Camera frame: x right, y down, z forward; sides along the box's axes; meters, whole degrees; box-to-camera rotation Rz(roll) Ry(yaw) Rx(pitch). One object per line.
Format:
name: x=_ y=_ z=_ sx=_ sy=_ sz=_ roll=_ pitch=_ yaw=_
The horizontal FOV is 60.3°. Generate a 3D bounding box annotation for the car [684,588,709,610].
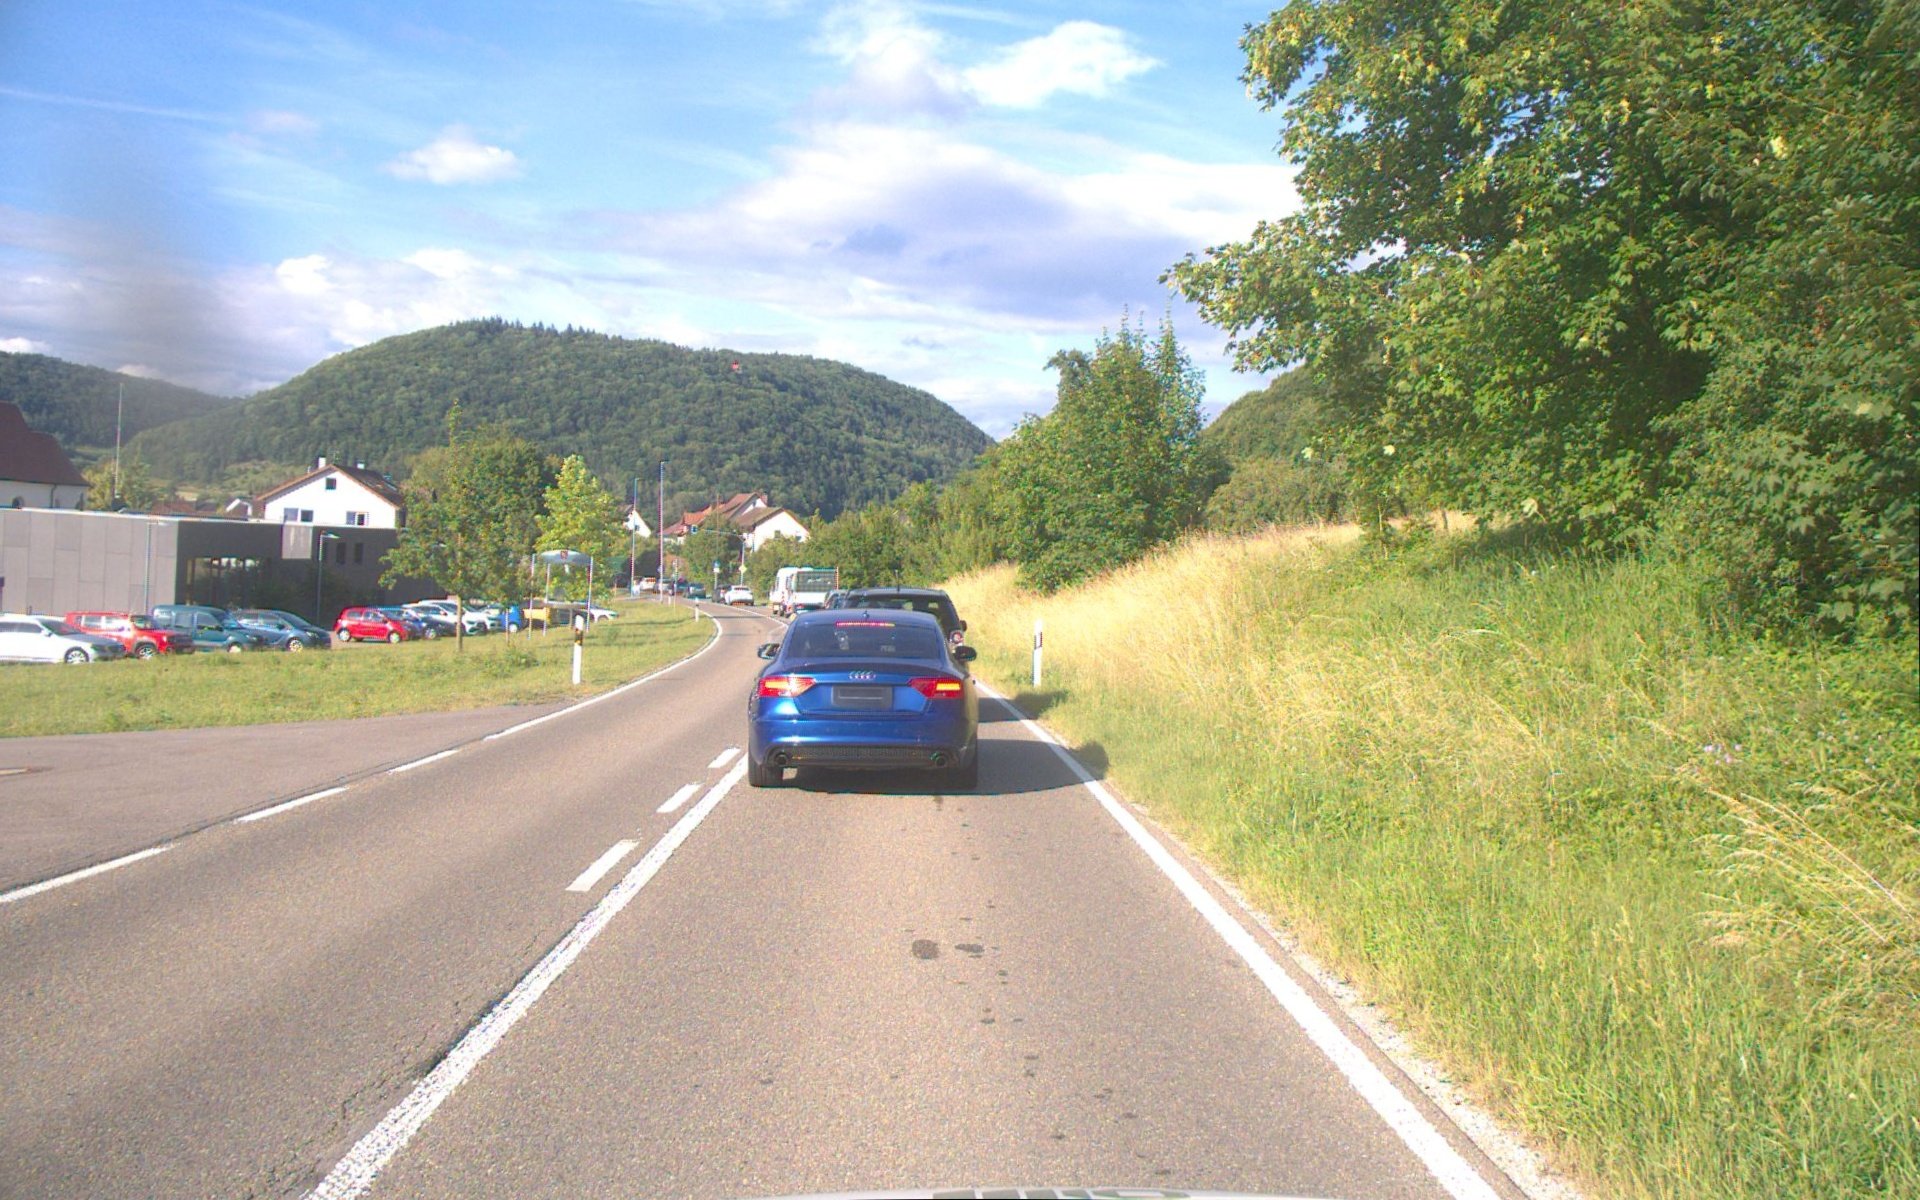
car: x=-24.059 y=-0.092 z=151.154 sx=1.634 sy=1.958 sz=3.979 roll=0 pitch=0 yaw=-19

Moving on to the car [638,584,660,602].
car: x=-33.751 y=-0.773 z=179.430 sx=1.653 sy=1.958 sz=3.975 roll=0 pitch=0 yaw=-21

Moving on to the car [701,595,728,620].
car: x=-19.658 y=0.565 z=132.318 sx=1.632 sy=1.958 sz=3.983 roll=0 pitch=0 yaw=-16

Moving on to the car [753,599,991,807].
car: x=-0.682 y=0.743 z=13.702 sx=1.707 sy=1.476 sz=3.516 roll=0 pitch=0 yaw=-2

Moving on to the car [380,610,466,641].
car: x=-25.719 y=1.214 z=79.261 sx=3.548 sy=1.430 sz=1.597 roll=0 pitch=-3 yaw=3

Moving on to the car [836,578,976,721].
car: x=-0.748 y=0.593 z=21.425 sx=1.613 sy=1.653 sz=3.514 roll=2 pitch=0 yaw=-4

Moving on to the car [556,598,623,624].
car: x=-24.386 y=0.728 z=108.924 sx=3.951 sy=1.689 sz=1.656 roll=0 pitch=0 yaw=3

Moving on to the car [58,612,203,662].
car: x=-26.931 y=1.187 z=53.769 sx=3.838 sy=1.606 sz=1.756 roll=0 pitch=0 yaw=2

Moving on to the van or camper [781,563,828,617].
van or camper: x=-8.250 y=-0.516 z=87.362 sx=2.238 sy=2.761 sz=5.757 roll=0 pitch=0 yaw=-7

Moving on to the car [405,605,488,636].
car: x=-25.595 y=1.008 z=82.498 sx=3.589 sy=1.520 sz=1.597 roll=0 pitch=-2 yaw=3

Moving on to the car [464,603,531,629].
car: x=-25.644 y=0.900 z=91.783 sx=3.303 sy=1.397 sz=1.659 roll=0 pitch=0 yaw=-4

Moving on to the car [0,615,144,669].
car: x=-27.878 y=1.281 z=50.870 sx=4.544 sy=1.616 sz=2.001 roll=0 pitch=0 yaw=2

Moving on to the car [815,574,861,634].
car: x=-4.385 y=0.120 z=59.214 sx=1.537 sy=2.049 sz=3.995 roll=0 pitch=0 yaw=-6

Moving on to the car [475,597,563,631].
car: x=-25.146 y=0.787 z=94.326 sx=4.457 sy=1.846 sz=1.842 roll=0 pitch=0 yaw=3

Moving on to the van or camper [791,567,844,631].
van or camper: x=-6.046 y=-0.041 z=69.676 sx=2.013 sy=2.549 sz=5.803 roll=0 pitch=0 yaw=-7

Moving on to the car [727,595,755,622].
car: x=-16.122 y=0.626 z=121.890 sx=1.631 sy=1.958 sz=3.986 roll=0 pitch=0 yaw=-14

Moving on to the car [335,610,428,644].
car: x=-25.929 y=1.186 z=74.207 sx=3.548 sy=1.469 sz=1.649 roll=0 pitch=0 yaw=3

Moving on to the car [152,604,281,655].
car: x=-26.675 y=1.044 z=59.410 sx=3.782 sy=1.752 sz=1.756 roll=1 pitch=0 yaw=0

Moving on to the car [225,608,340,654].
car: x=-26.213 y=1.178 z=64.067 sx=3.738 sy=1.752 sz=1.732 roll=0 pitch=0 yaw=2

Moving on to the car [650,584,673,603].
car: x=-30.761 y=-0.676 z=170.534 sx=1.653 sy=1.958 sz=3.975 roll=0 pitch=0 yaw=-21

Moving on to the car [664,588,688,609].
car: x=-27.782 y=-0.153 z=161.489 sx=1.652 sy=1.958 sz=3.976 roll=0 pitch=0 yaw=-20

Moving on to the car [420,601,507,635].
car: x=-25.709 y=0.920 z=85.670 sx=3.991 sy=1.702 sz=1.597 roll=0 pitch=1 yaw=3

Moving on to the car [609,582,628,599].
car: x=-40.310 y=-1.079 z=195.198 sx=1.653 sy=1.958 sz=3.975 roll=0 pitch=0 yaw=-21
